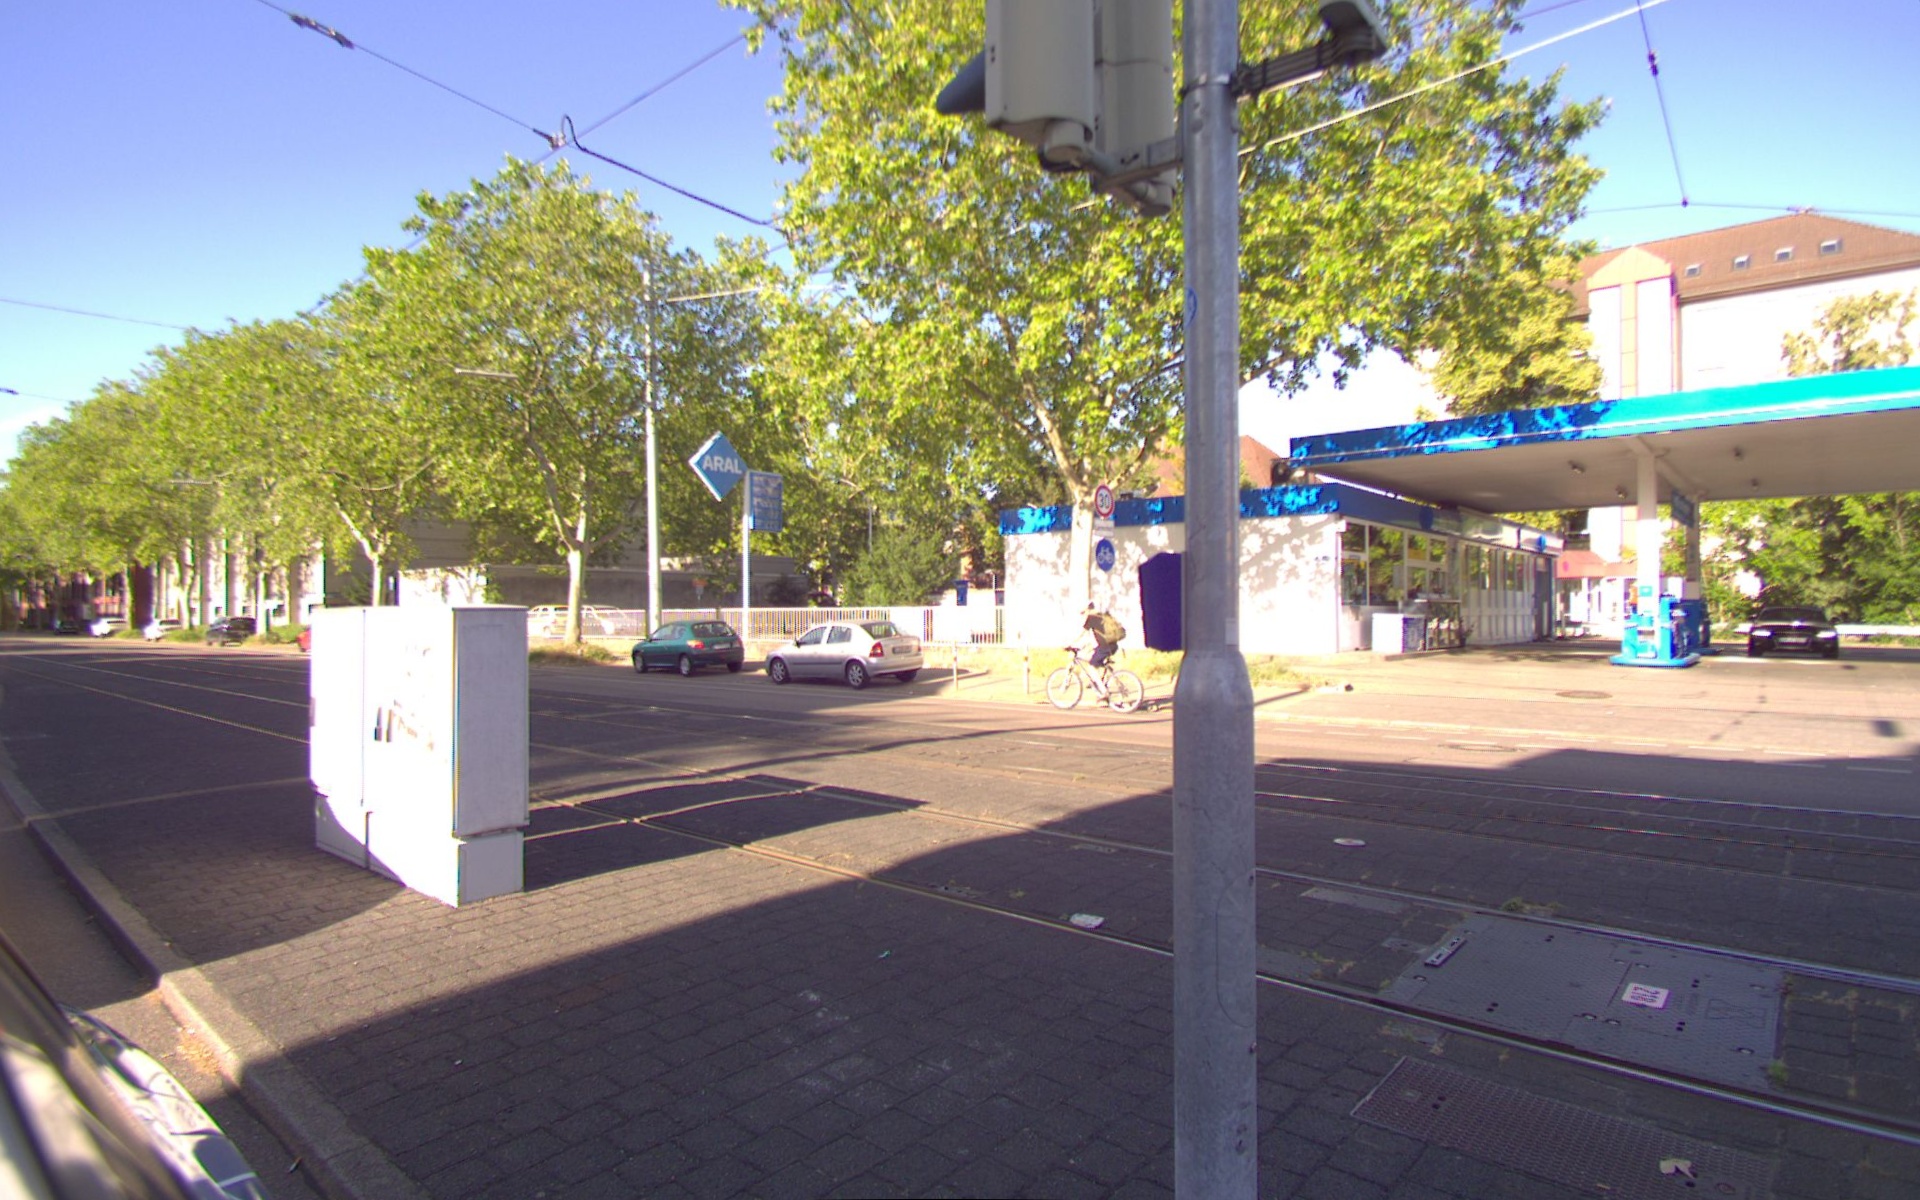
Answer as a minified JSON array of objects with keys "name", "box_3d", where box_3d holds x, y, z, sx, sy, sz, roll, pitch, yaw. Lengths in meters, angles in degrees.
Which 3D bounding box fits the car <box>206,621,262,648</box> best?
[{"name":"car","box_3d":[-40.599,1.901,56.571,3.998,1.420,1.678,-1,-2,41]}]

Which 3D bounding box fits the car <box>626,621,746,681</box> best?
[{"name":"car","box_3d":[-7.285,1.310,26.795,3.253,1.431,1.526,-1,0,41]}]

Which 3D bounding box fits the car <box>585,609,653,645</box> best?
[{"name":"car","box_3d":[-14.649,1.132,43.414,3.151,1.431,1.525,-1,0,44]}]

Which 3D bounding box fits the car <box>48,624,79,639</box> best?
[{"name":"car","box_3d":[-85.183,2.992,96.157,3.998,1.420,1.678,-1,-2,41]}]

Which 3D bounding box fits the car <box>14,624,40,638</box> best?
[{"name":"car","box_3d":[-103.268,3.410,111.997,3.998,1.420,1.678,-1,-2,41]}]

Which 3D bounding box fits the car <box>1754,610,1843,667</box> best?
[{"name":"car","box_3d":[21.776,0.951,26.266,1.665,1.309,3.433,-1,0,41]}]

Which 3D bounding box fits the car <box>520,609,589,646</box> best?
[{"name":"car","box_3d":[-16.817,1.106,41.956,3.151,1.431,1.525,-1,0,44]}]

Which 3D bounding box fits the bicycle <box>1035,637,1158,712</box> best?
[{"name":"bicycle","box_3d":[2.100,1.127,15.598,1.782,1.078,0.571,-1,0,23]}]

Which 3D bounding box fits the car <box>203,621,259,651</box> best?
[{"name":"car","box_3d":[-40.734,1.993,56.530,3.998,1.587,1.678,-1,-2,41]}]

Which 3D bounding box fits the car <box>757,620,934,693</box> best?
[{"name":"car","box_3d":[-2.617,1.200,22.649,3.998,1.431,1.709,-1,0,41]}]

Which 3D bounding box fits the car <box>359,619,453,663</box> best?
[{"name":"car","box_3d":[-22.088,1.582,40.289,4.431,1.534,1.731,-1,3,40]}]

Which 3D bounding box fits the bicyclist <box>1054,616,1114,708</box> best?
[{"name":"bicyclist","box_3d":[1.920,0.945,15.635,0.797,1.376,0.556,-1,0,22]}]

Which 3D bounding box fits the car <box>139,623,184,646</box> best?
[{"name":"car","box_3d":[-53.810,2.305,68.194,3.998,1.420,1.678,-1,-2,41]}]

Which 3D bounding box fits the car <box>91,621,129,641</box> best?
[{"name":"car","box_3d":[-66.812,2.430,79.541,3.998,1.569,1.678,-1,-2,41]}]

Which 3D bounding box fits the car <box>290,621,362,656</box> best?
[{"name":"car","box_3d":[-28.975,1.737,46.218,3.998,1.480,1.678,0,-1,41]}]
